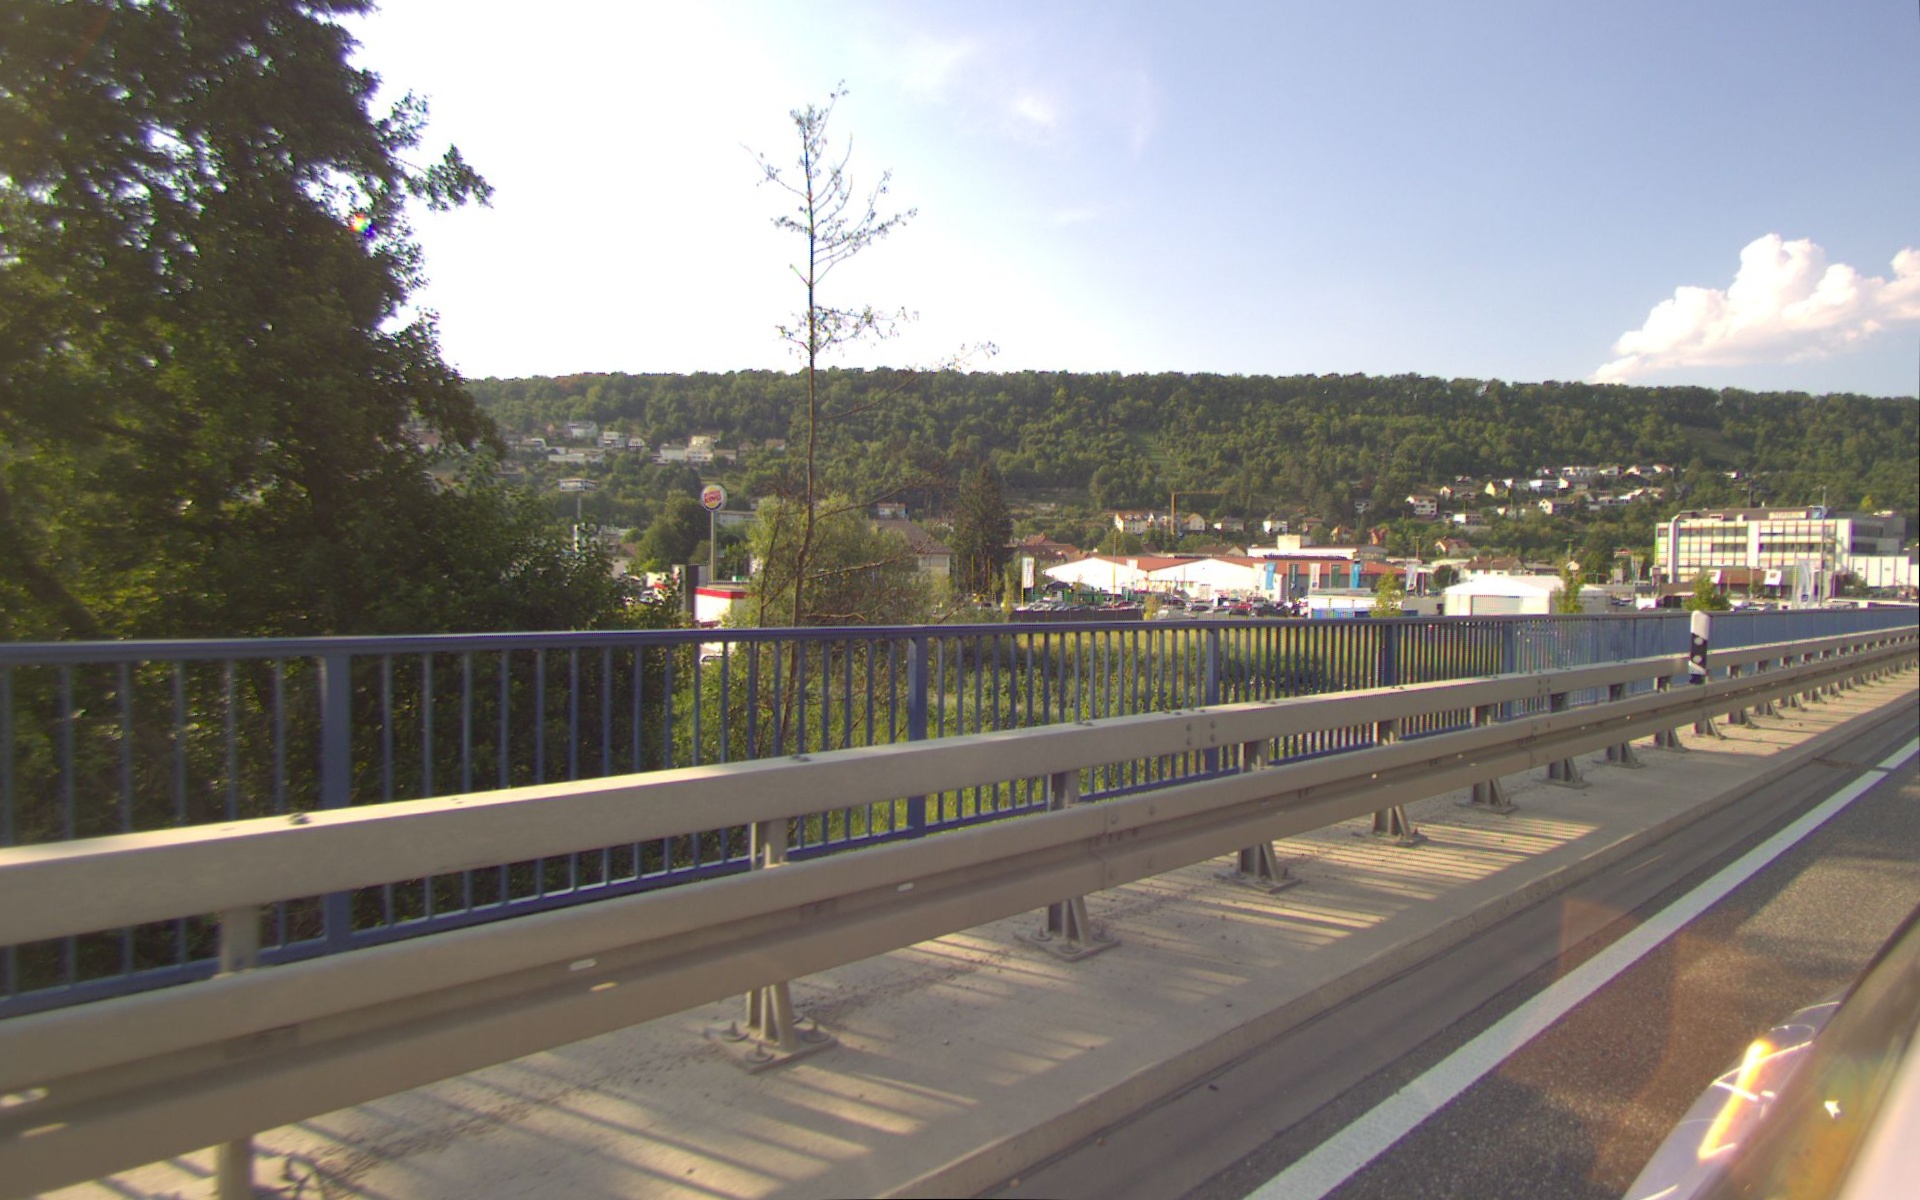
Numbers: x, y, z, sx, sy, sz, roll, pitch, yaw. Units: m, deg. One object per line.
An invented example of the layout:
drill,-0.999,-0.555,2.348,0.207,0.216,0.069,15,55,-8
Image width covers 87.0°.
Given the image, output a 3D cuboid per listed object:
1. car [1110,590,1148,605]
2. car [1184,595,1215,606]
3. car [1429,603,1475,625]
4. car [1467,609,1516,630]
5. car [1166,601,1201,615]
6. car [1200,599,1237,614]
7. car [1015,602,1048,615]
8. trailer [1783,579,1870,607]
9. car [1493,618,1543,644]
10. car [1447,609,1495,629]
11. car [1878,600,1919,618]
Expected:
car,18.546,-0.299,111.148,3.702,1.597,1.756,-1,1,-24
car,34.795,0.004,146.750,4.138,1.521,1.593,-1,1,-18
car,38.944,1.074,80.089,3.926,1.623,1.711,-1,1,-37
car,46.068,1.671,87.699,4.641,1.656,1.885,-1,1,-36
car,26.854,0.906,121.532,3.700,1.597,1.756,-1,1,-19
car,28.914,0.721,113.261,3.700,1.597,1.756,-1,1,-19
car,8.980,1.047,127.031,3.701,1.597,1.756,-1,1,-21
trailer,110.415,-0.932,129.059,3.296,3.364,7.903,-1,1,-36
car,41.532,2.291,75.321,3.926,1.705,1.780,-1,1,-36
car,45.351,1.668,89.818,4.641,1.656,1.885,-1,1,-36
car,111.756,1.013,118.702,1.964,2.039,5.896,-1,1,-38
